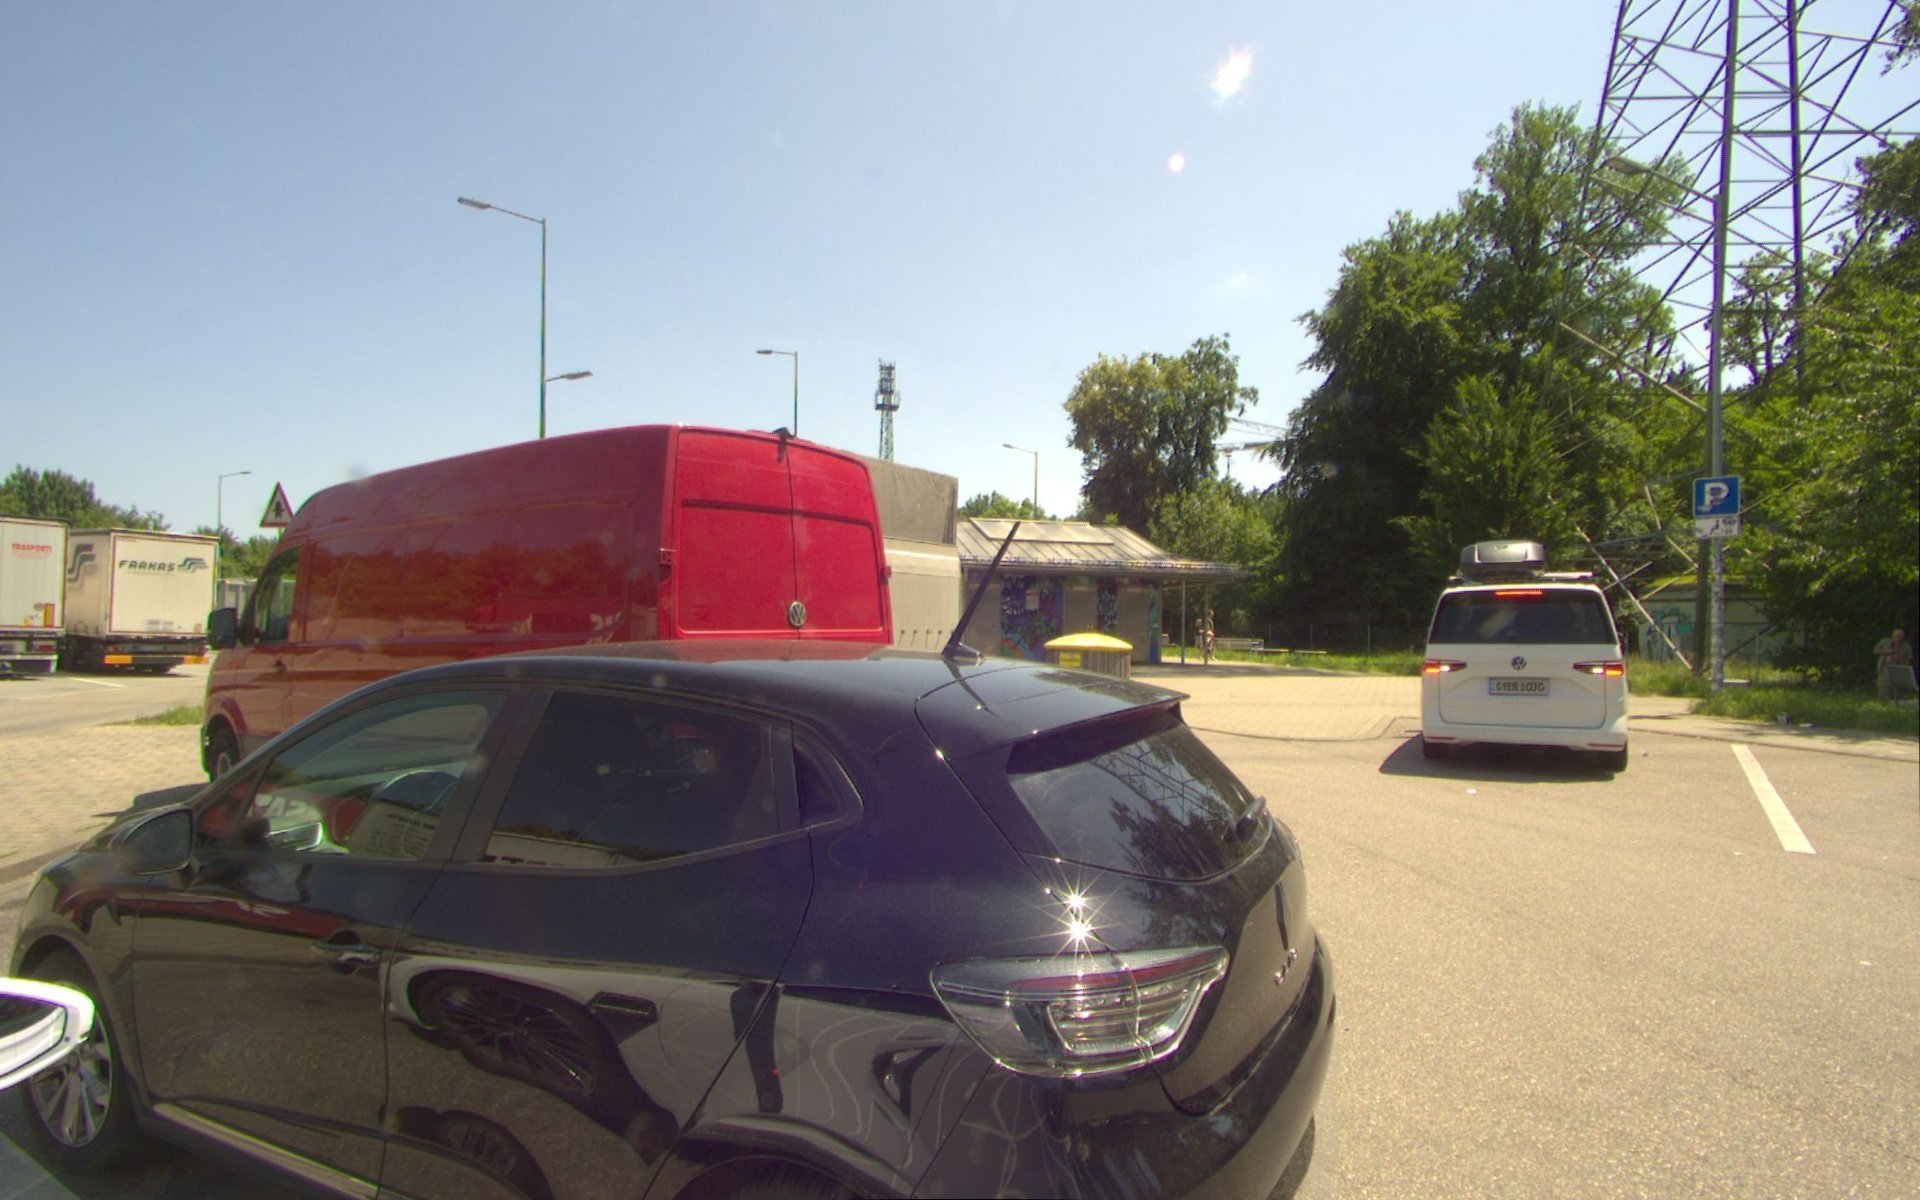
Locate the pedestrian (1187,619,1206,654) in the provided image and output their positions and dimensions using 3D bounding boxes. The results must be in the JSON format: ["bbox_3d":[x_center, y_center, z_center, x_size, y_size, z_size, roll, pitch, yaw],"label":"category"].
[{"bbox_3d":[10.766,1.664,45.634,0.634,1.547,0.565,0,-1,-12],"label":"pedestrian"}]

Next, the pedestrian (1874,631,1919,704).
[{"bbox_3d":[18.602,1.326,19.801,0.660,1.422,0.647,-1,-1,33],"label":"pedestrian"}]

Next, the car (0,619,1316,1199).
[{"bbox_3d":[-1.064,0.836,2.907,3.757,1.501,1.736,0,-1,27],"label":"car"}]

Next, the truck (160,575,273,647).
[{"bbox_3d":[-37.698,0.568,50.738,5.405,3.407,2.847,1,-2,34],"label":"truck"}]

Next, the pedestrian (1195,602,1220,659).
[{"bbox_3d":[9.027,1.128,36.550,0.763,2.067,0.646,0,-1,2],"label":"pedestrian"}]

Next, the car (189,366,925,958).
[{"bbox_3d":[-3.356,0.311,7.358,6.310,2.731,2.060,0,-1,37],"label":"car"}]

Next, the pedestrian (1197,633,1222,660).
[{"bbox_3d":[8.879,1.658,35.634,0.763,0.960,0.646,0,-1,2],"label":"pedestrian"}]

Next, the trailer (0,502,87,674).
[{"bbox_3d":[-28.971,-0.370,28.148,13.523,4.185,2.835,1,-2,33],"label":"trailer"}]

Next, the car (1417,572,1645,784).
[{"bbox_3d":[6.384,0.767,11.607,1.881,1.937,4.549,-1,-1,26],"label":"car"}]

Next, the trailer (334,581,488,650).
[{"bbox_3d":[-36.054,0.916,65.432,13.530,4.101,2.834,1,-2,34],"label":"trailer"}]

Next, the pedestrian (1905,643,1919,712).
[{"bbox_3d":[17.188,1.359,17.478,0.876,1.192,0.666,-1,-2,32],"label":"pedestrian"}]

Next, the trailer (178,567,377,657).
[{"bbox_3d":[-32.389,0.485,47.139,13.530,3.764,2.834,1,-2,34],"label":"trailer"}]

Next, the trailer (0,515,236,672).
[{"bbox_3d":[-27.663,-0.191,31.629,13.523,4.185,2.835,1,-2,33],"label":"trailer"}]
